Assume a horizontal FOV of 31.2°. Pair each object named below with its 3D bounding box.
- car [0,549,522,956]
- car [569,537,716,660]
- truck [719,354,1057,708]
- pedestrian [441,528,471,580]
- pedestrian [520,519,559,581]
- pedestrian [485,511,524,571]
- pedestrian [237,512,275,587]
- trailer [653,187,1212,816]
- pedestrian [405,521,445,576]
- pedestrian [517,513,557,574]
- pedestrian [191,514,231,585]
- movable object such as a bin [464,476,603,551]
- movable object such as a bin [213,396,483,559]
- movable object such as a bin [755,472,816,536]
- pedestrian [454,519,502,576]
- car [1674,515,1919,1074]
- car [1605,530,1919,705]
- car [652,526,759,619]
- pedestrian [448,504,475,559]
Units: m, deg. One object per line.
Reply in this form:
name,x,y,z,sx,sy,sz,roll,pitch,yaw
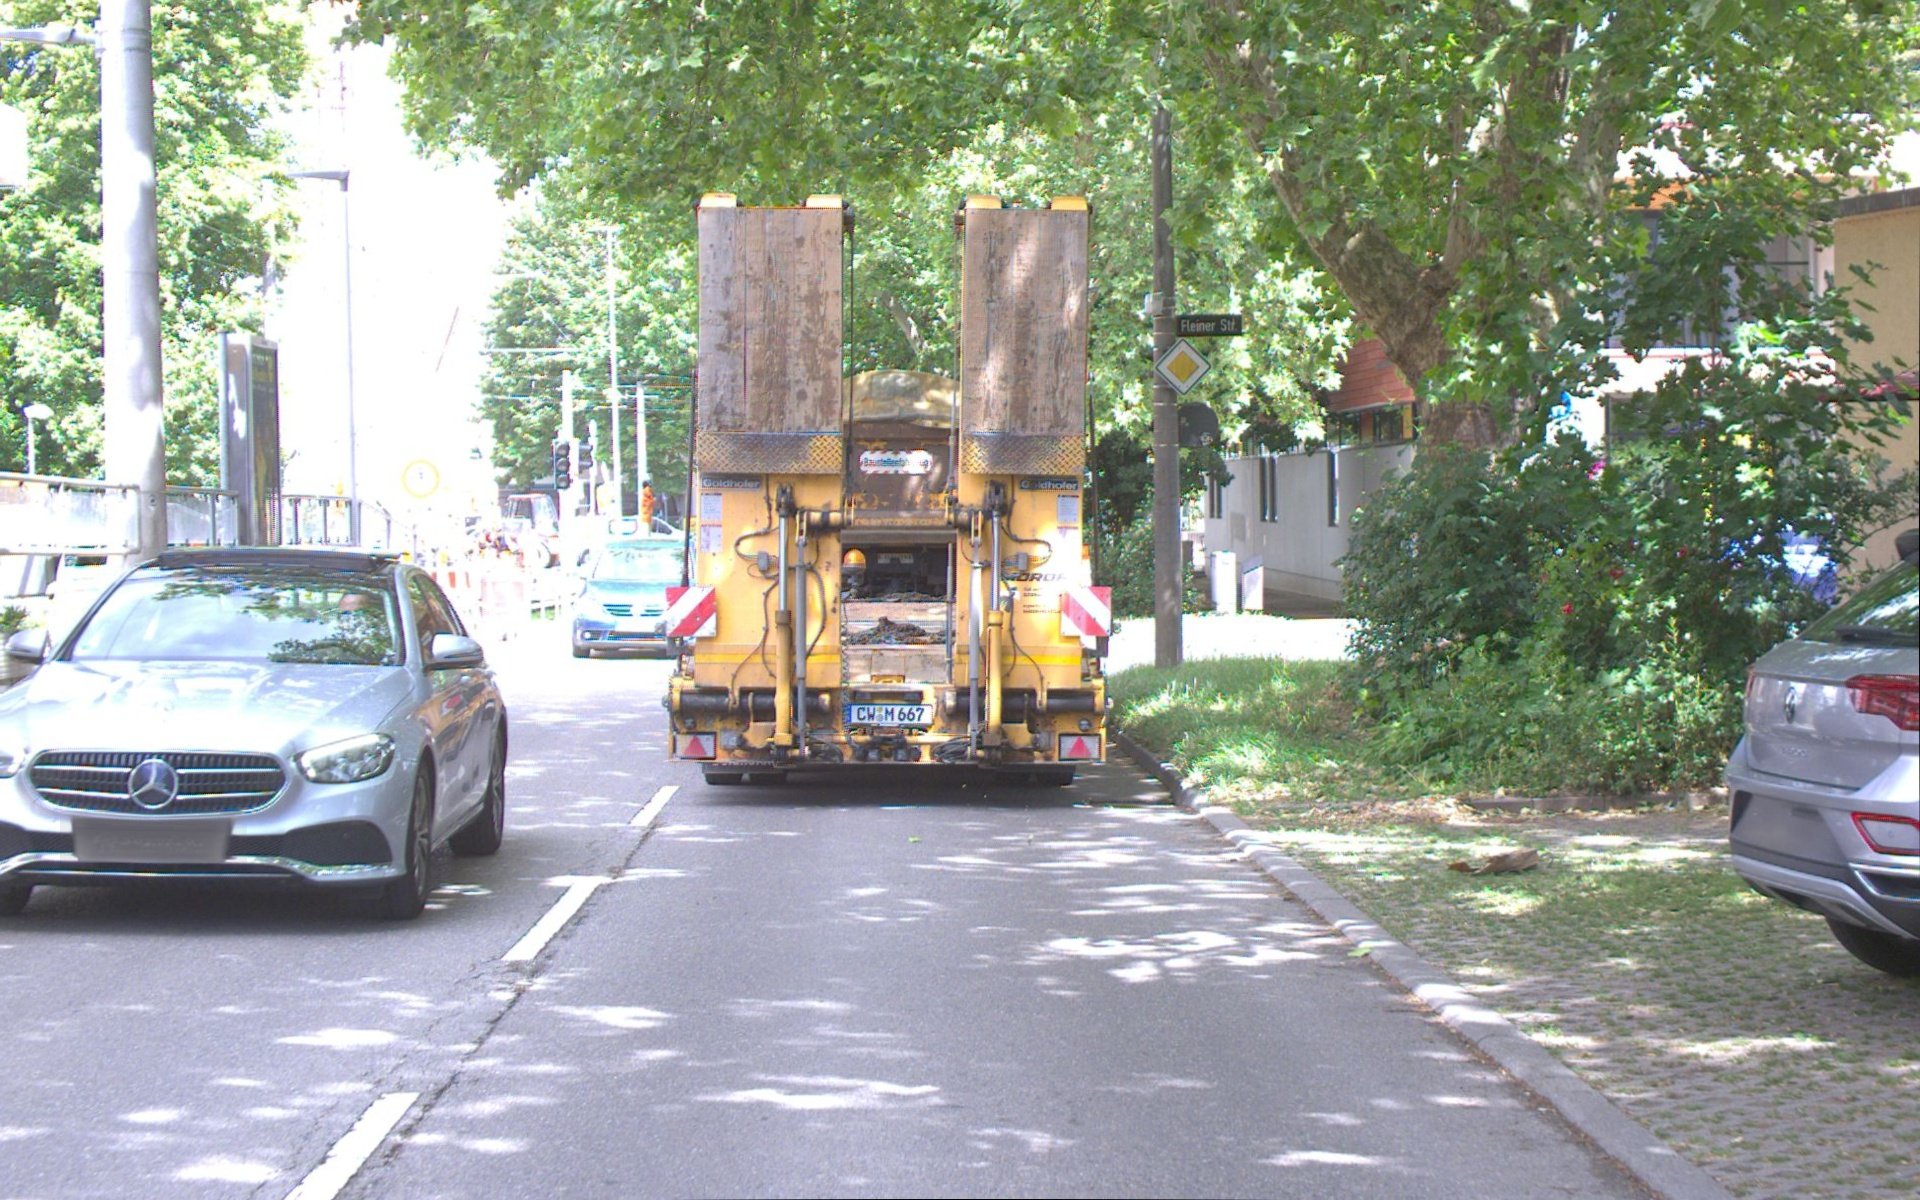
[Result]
car,-3.046,0.541,15.204,1.762,1.476,4.577,1,1,-2
car,-4.170,-0.044,45.568,1.696,1.559,3.861,0,1,-2
truck,-0.841,-0.690,34.488,2.989,3.124,7.889,0,1,-3
pedestrian,-16.034,-1.467,109.436,0.885,1.639,0.837,0,1,-12
pedestrian,-12.626,-1.509,103.249,0.885,1.860,0.837,0,1,-30
pedestrian,-13.489,-1.752,101.843,0.886,1.754,0.836,1,1,18
pedestrian,-16.228,-1.175,79.252,0.699,1.712,0.867,0,1,-1
trailer,-0.402,-0.664,25.027,3.154,3.540,11.098,0,1,-3
pedestrian,-16.079,-1.537,103.292,0.885,1.639,0.900,0,1,-32
pedestrian,-13.010,-1.728,105.660,0.887,1.860,0.836,1,1,28
pedestrian,-17.203,-1.157,78.943,0.732,1.620,0.867,0,1,-1
movable object such as a bin,-15.065,-3.052,121.497,4.372,2.620,2.217,1,1,26
movable object such as a bin,-20.812,-4.141,116.826,9.215,5.396,2.660,1,1,26
movable object such as a bin,-5.518,-3.050,109.051,1.399,2.007,2.555,1,1,10
pedestrian,-14.523,-1.576,103.541,0.888,1.709,1.108,2,2,45
car,4.361,0.472,10.680,3.828,1.557,1.620,-2,1,-8
car,10.028,0.170,40.674,4.178,1.676,2.014,-4,3,-9
car,-4.639,-0.523,63.143,1.753,1.627,4.119,1,1,-2
pedestrian,-17.031,-2.342,117.413,0.834,1.860,0.888,0,1,-13
